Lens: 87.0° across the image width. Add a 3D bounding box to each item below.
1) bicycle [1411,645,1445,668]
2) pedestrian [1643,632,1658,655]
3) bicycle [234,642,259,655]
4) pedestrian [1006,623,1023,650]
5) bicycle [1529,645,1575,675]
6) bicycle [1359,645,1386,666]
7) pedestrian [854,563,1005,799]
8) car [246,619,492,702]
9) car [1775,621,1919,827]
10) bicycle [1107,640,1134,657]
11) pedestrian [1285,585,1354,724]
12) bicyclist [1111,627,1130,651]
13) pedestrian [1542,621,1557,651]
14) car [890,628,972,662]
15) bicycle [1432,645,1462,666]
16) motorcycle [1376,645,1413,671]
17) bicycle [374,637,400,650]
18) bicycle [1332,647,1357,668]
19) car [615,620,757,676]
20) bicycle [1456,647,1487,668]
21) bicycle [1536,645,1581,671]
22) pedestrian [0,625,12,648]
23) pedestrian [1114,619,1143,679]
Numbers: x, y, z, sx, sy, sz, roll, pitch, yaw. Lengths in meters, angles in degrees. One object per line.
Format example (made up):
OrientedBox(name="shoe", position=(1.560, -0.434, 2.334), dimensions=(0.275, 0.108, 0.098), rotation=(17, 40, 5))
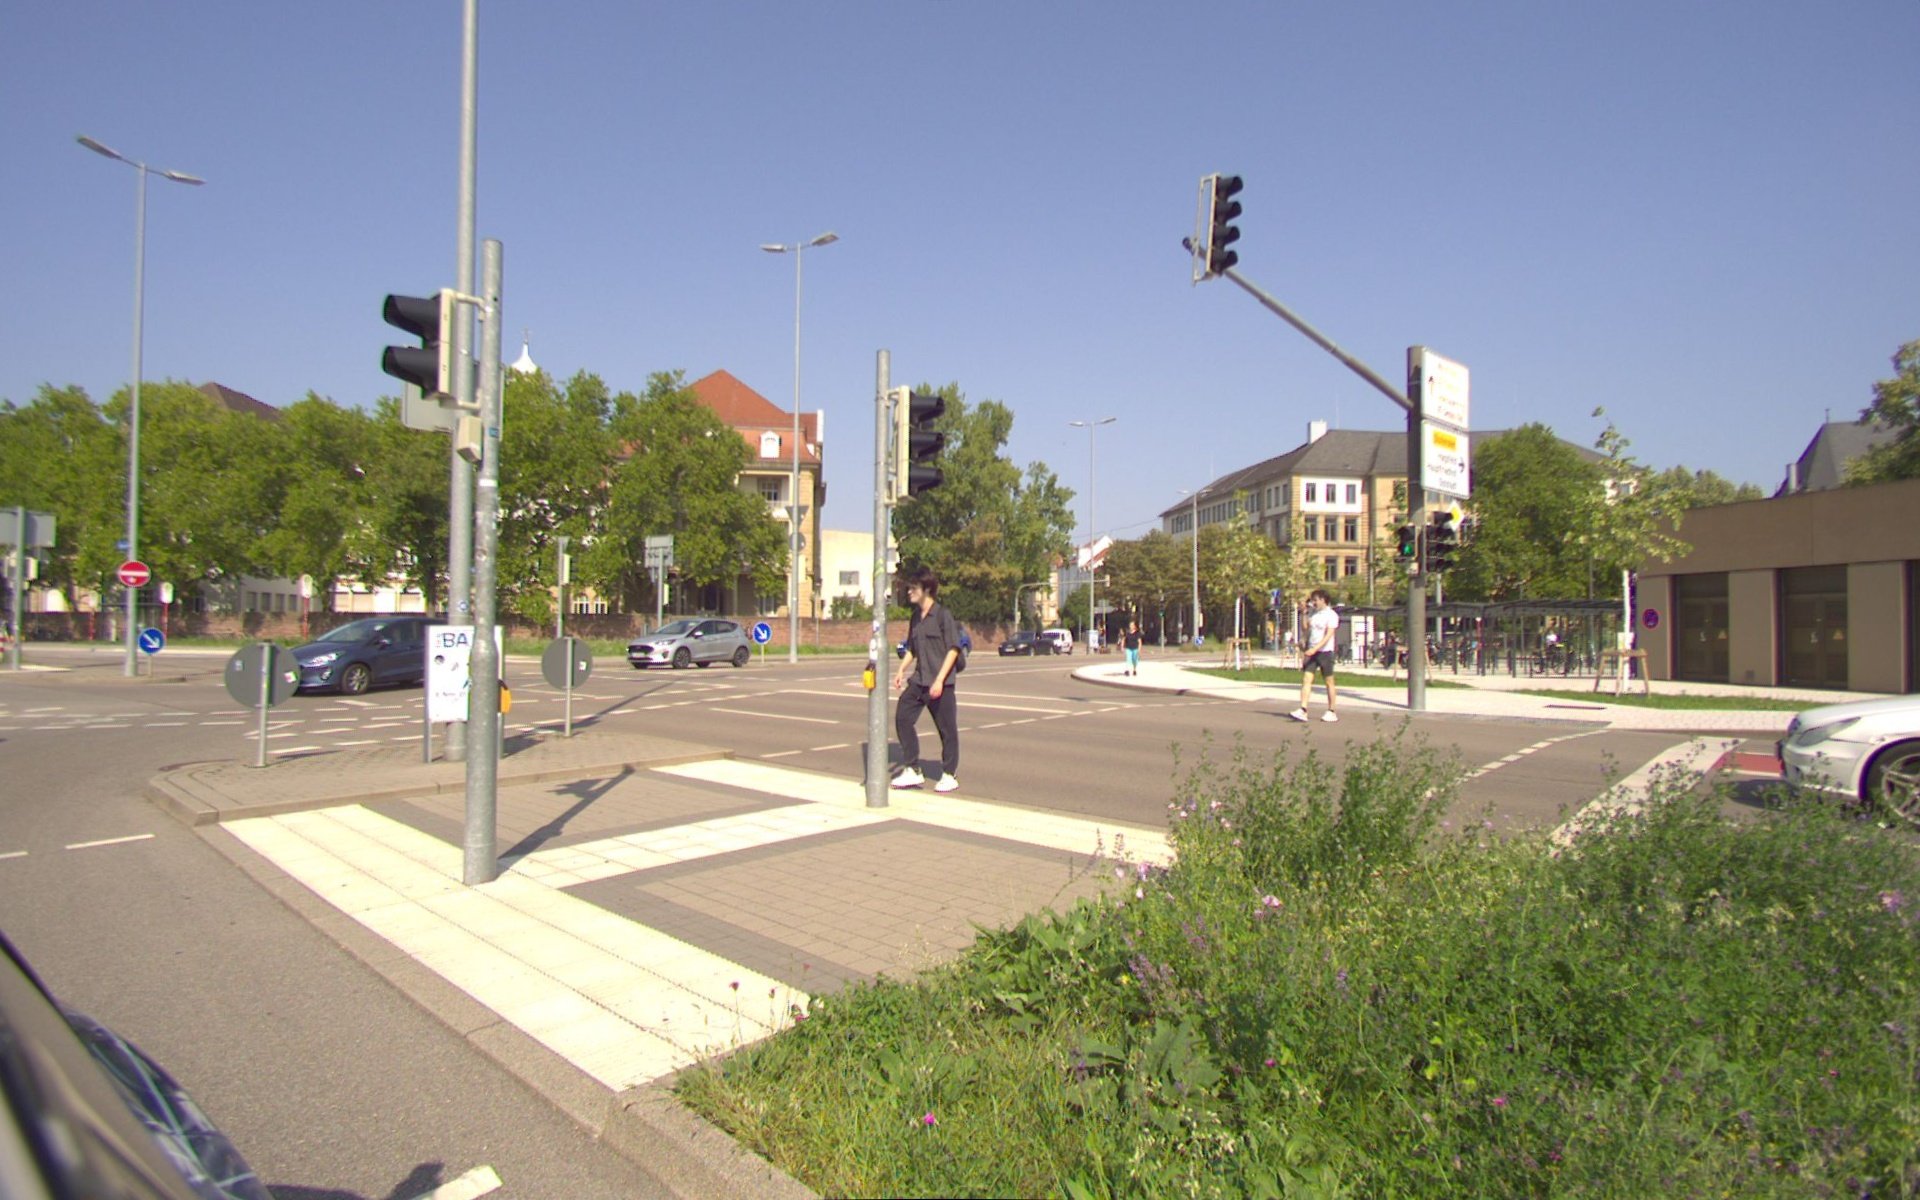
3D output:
OrientedBox(name="bicycle", position=(20.724, 2.488, 44.802), dimensions=(0.525, 0.994, 1.716), rotation=(1, -2, -7))
OrientedBox(name="pedestrian", position=(36.607, 2.308, 53.635), dimensions=(0.433, 1.234, 0.383), rotation=(-1, -3, -6))
OrientedBox(name="bicycle", position=(-49.390, 3.360, 70.052), dimensions=(1.531, 0.842, 0.433), rotation=(0, -2, 6))
OrientedBox(name="pedestrian", position=(4.074, 2.736, 76.064), dimensions=(0.821, 2.029, 0.895), rotation=(-5, -5, 41))
OrientedBox(name="bicycle", position=(20.916, 2.105, 35.776), dimensions=(0.395, 1.017, 1.748), rotation=(1, -2, -7))
OrientedBox(name="bicycle", position=(19.187, 2.566, 47.112), dimensions=(0.415, 0.975, 1.590), rotation=(1, -2, -7))
OrientedBox(name="pedestrian", position=(-0.249, 0.655, 8.589), dimensions=(1.066, 1.854, 0.730), rotation=(2, -2, -43))
OrientedBox(name="car", position=(-11.699, 1.131, 20.400), dimensions=(1.628, 1.438, 4.294), rotation=(0, -1, 19))
OrientedBox(name="car", position=(8.342, 0.851, 6.403), dimensions=(4.821, 1.372, 1.821), rotation=(-1, 0, 45))
OrientedBox(name="bicycle", position=(11.837, 3.578, 74.637), dimensions=(0.884, 1.214, 3.046), rotation=(-4, -4, 30))
OrientedBox(name="pedestrian", position=(4.912, 0.731, 13.830), dimensions=(0.683, 1.847, 0.572), rotation=(1, -2, -34))
OrientedBox(name="bicyclist", position=(11.863, 2.881, 74.743), dimensions=(0.884, 1.759, 1.355), rotation=(-4, -4, 31))
OrientedBox(name="pedestrian", position=(34.482, 2.087, 59.199), dimensions=(0.713, 1.762, 0.386), rotation=(-1, -3, 26))
OrientedBox(name="car", position=(-1.145, 1.852, 42.065), dimensions=(1.599, 1.339, 4.295), rotation=(-1, -2, 26))
OrientedBox(name="bicycle", position=(21.753, 2.491, 45.264), dimensions=(0.403, 0.899, 1.590), rotation=(1, -2, -7))
OrientedBox(name="motorcycle", position=(17.634, 2.348, 41.107), dimensions=(0.534, 1.017, 1.748), rotation=(1, -2, -7))
OrientedBox(name="bicycle", position=(-39.216, 2.981, 69.312), dimensions=(1.529, 0.842, 0.433), rotation=(0, -2, 3))
OrientedBox(name="bicycle", position=(17.924, 2.672, 47.241), dimensions=(0.395, 0.899, 1.590), rotation=(0, -2, -7))
OrientedBox(name="car", position=(-7.777, 1.323, 29.037), dimensions=(1.715, 1.444, 3.818), rotation=(-1, -1, 32))
OrientedBox(name="bicycle", position=(22.987, 2.586, 45.475), dimensions=(0.403, 0.899, 1.590), rotation=(1, -2, -7))
OrientedBox(name="bicycle", position=(23.889, 2.304, 40.432), dimensions=(0.454, 1.017, 1.878), rotation=(1, -2, -7))
OrientedBox(name="pedestrian", position=(-68.361, 2.623, 72.405), dimensions=(0.588, 1.664, 0.481), rotation=(-2, -4, 10))
OrientedBox(name="pedestrian", position=(4.510, 1.301, 27.106), dimensions=(0.745, 1.577, 0.665), rotation=(1, -2, 10))
